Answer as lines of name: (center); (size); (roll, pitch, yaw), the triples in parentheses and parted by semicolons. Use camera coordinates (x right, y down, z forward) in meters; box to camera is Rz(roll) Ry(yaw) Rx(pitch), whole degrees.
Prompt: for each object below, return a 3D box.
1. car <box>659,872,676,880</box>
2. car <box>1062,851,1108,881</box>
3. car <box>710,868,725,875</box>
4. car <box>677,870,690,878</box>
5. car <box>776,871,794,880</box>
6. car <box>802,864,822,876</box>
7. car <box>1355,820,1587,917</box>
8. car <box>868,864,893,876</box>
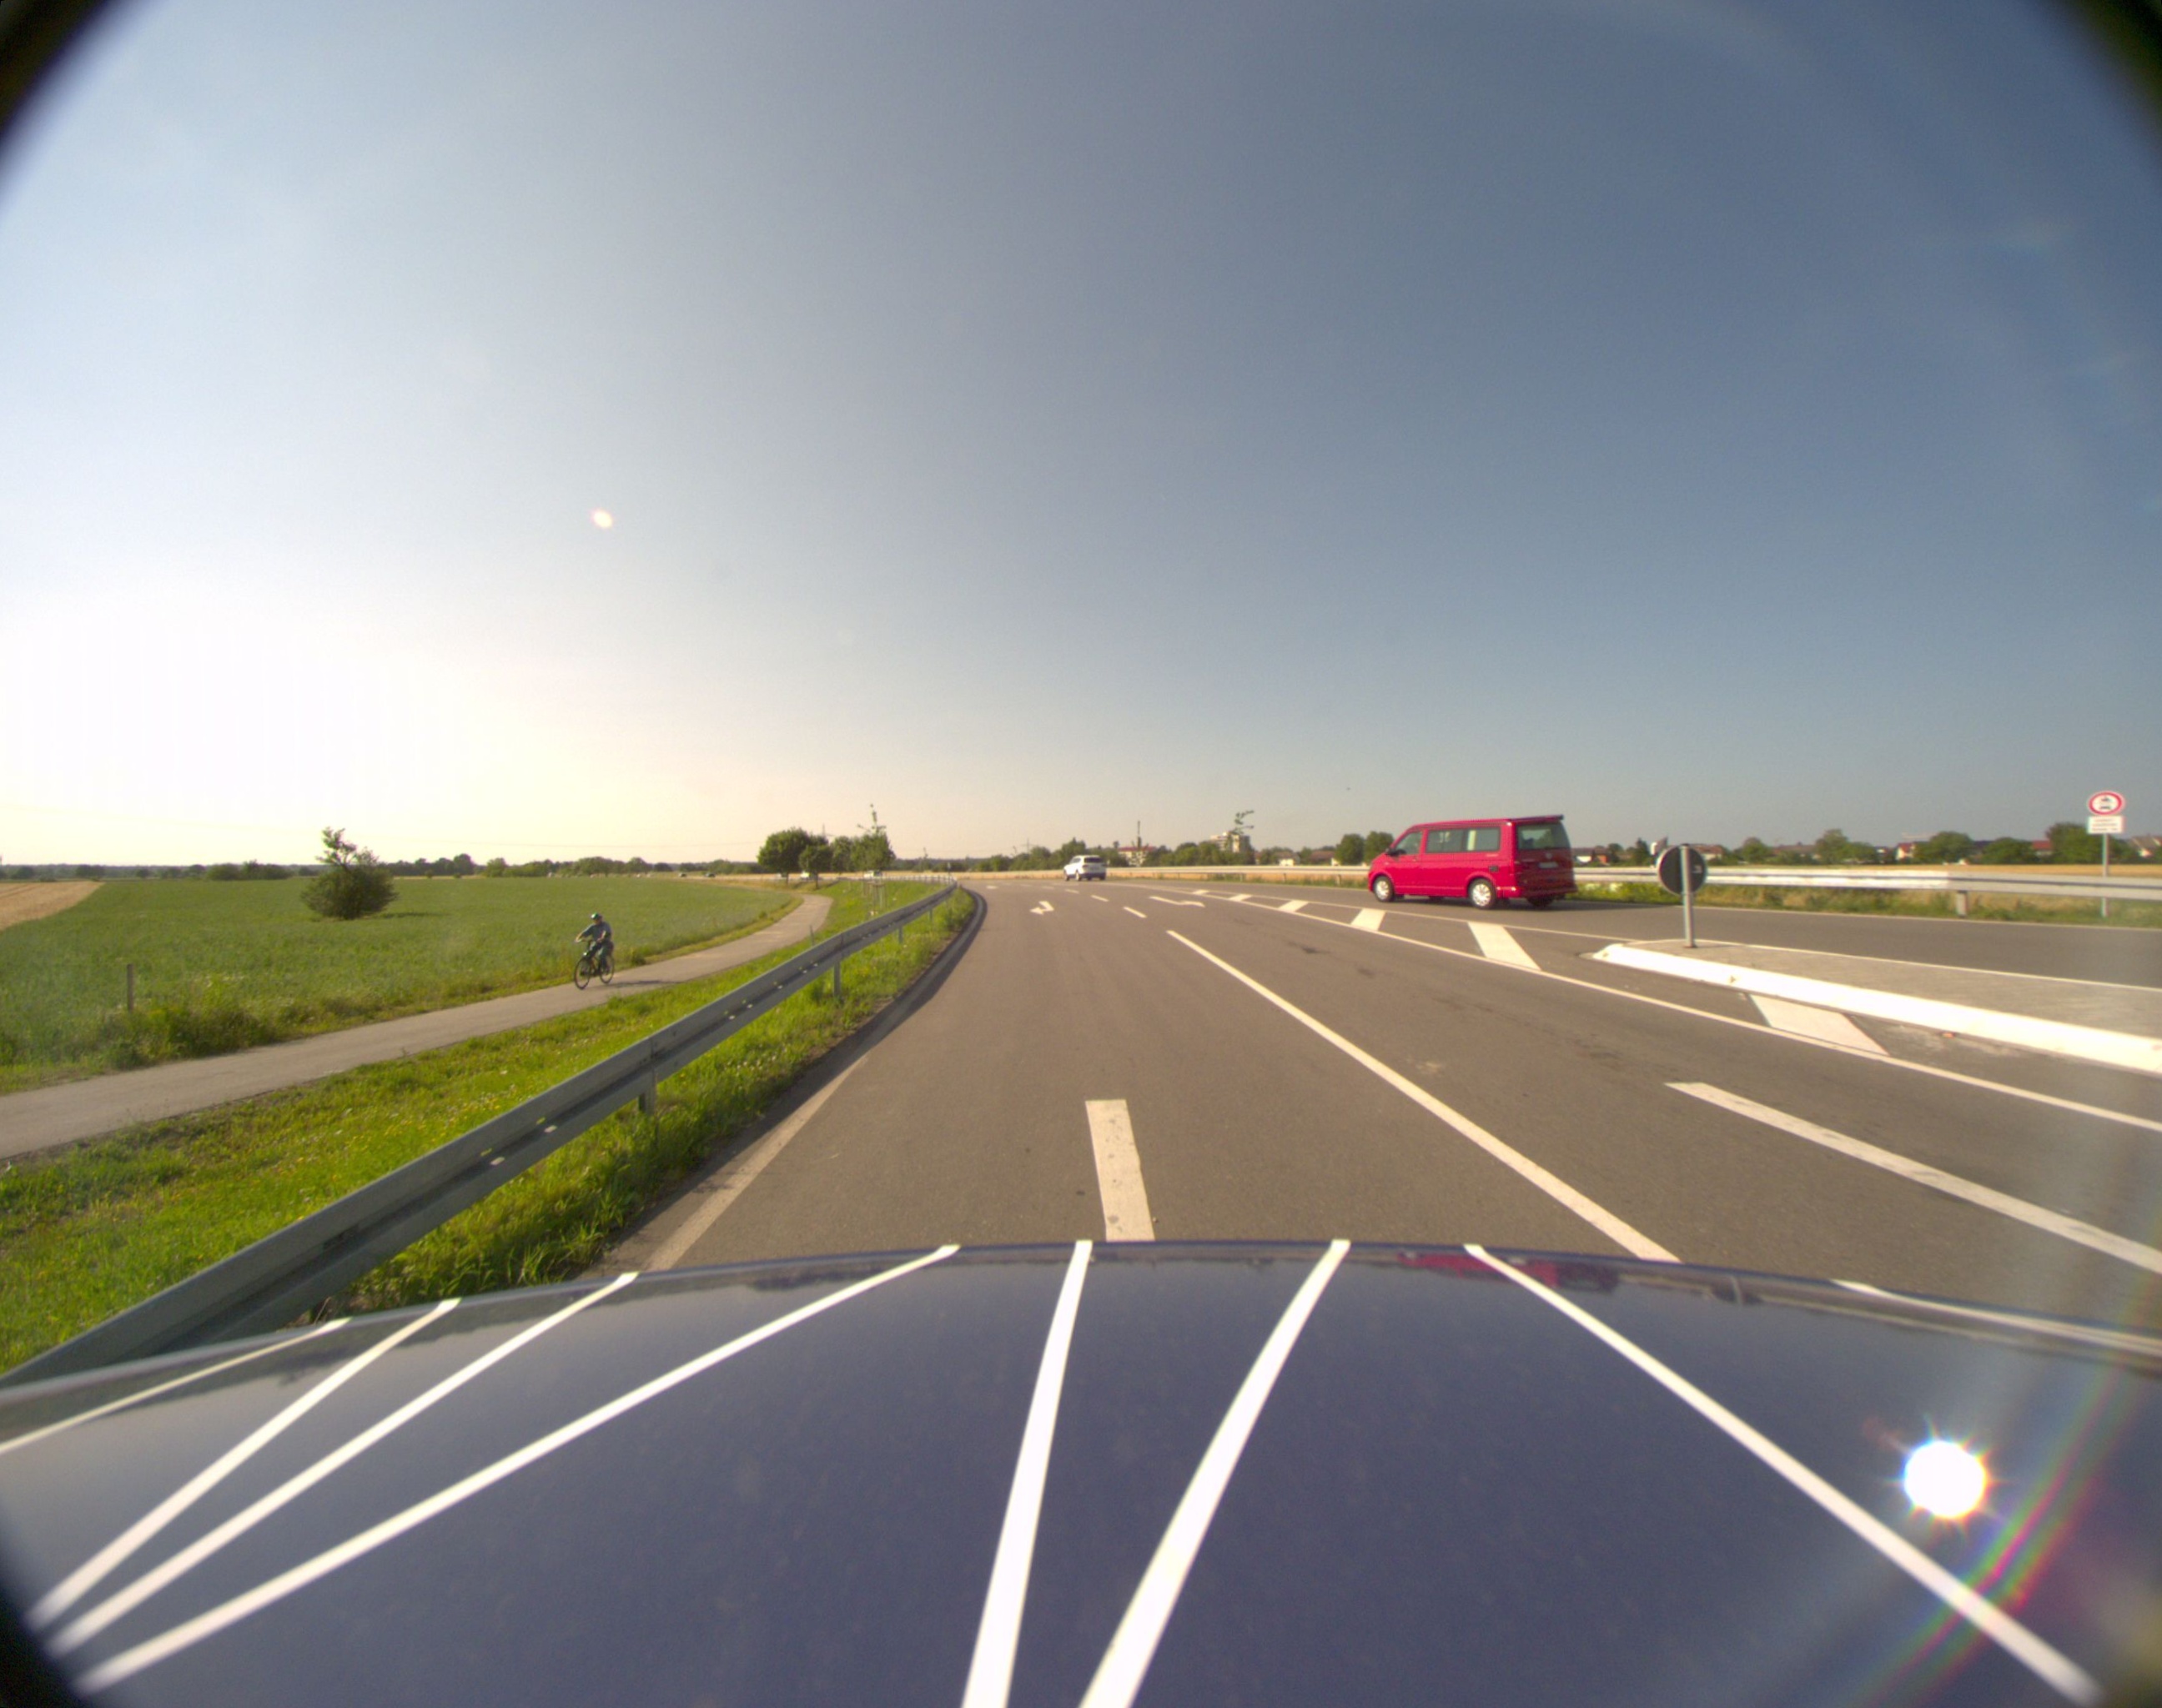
car: (-108.372, 5.753, 198.987); (2.822, 2.002, 6.086); (-3, 1, -40)
car: (0.200, 0.740, 50.374); (1.698, 1.664, 4.854); (-2, 3, -16)
car: (-91.238, 4.423, 190.832); (2.004, 1.583, 4.849); (-2, 0, -43)
car: (-110.445, 5.556, 211.082); (1.892, 1.788, 5.077); (-3, 2, -39)
car: (-59.660, 4.306, 153.074); (1.804, 1.439, 4.694); (-2, -3, -41)
car: (-50.604, 2.986, 142.815); (2.125, 2.001, 5.142); (-2, -3, -36)
car: (8.875, 0.273, 17.896); (1.841, 1.929, 4.917); (-1, 1, -20)
car: (-31.195, 2.455, 118.220); (2.125, 1.484, 5.142); (-2, -3, -35)
